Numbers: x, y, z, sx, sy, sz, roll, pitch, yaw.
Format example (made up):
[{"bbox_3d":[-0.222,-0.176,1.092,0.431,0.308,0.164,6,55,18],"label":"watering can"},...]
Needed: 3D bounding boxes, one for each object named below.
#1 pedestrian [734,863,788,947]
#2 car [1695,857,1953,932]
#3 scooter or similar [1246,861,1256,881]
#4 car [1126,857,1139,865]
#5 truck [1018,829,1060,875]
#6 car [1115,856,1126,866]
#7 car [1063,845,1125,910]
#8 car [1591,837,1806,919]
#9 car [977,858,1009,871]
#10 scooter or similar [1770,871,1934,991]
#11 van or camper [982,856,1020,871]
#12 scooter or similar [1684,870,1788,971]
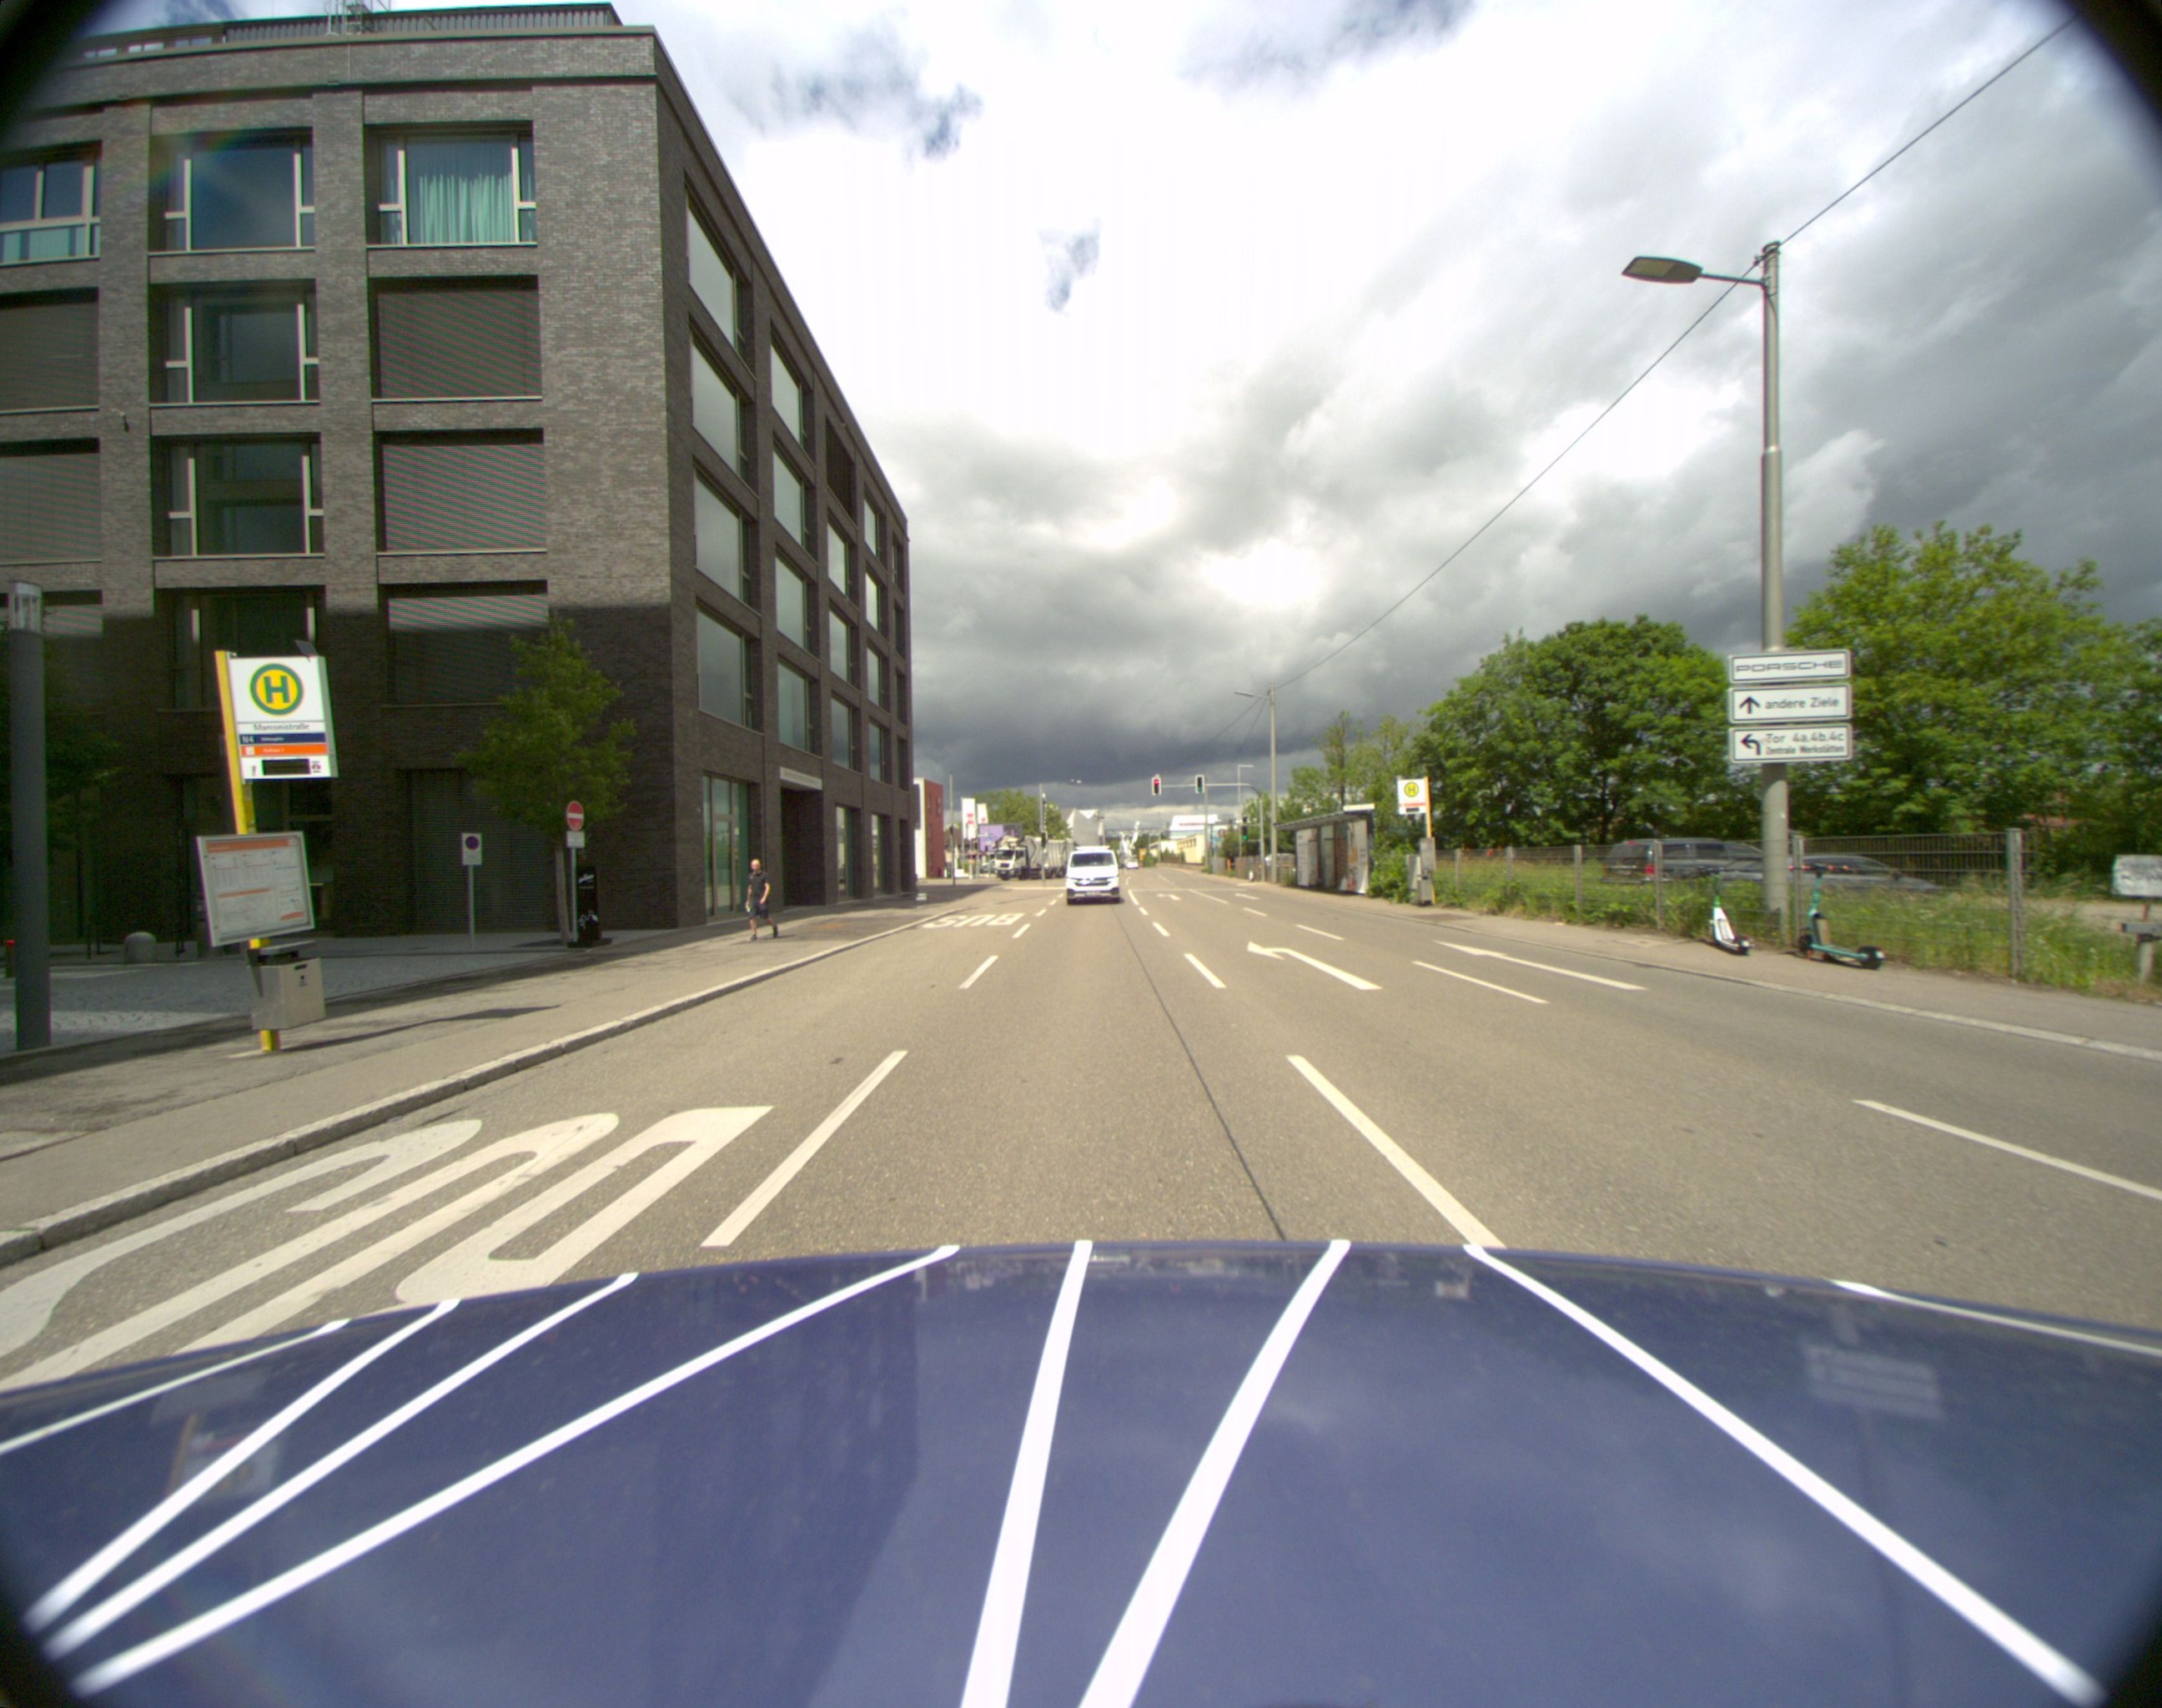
[{"bbox_3d":[-6.796,1.058,16.172,0.685,1.717,0.962,-2,0,1],"label":"pedestrian"},{"bbox_3d":[16.657,0.847,17.158,4.290,1.478,1.909,-1,1,-7],"label":"car"},{"bbox_3d":[10.614,1.058,47.439,0.424,1.203,1.126,-3,0,6],"label":"scooter or similar"},{"bbox_3d":[8.324,1.141,123.085,1.801,1.368,4.225,0,0,1],"label":"car"},{"bbox_3d":[-3.767,-0.192,70.642,2.836,3.889,10.367,-1,0,3],"label":"truck"},{"bbox_3d":[7.203,1.313,139.627,1.870,1.781,4.208,-1,0,1],"label":"car"},{"bbox_3d":[0.549,0.757,26.590,1.935,2.078,4.209,-1,0,4],"label":"car"},{"bbox_3d":[16.637,0.598,20.616,4.289,2.002,2.140,-1,1,-6],"label":"car"},{"bbox_3d":[-11.024,1.286,95.213,3.674,1.477,1.762,3,1,4],"label":"car"},{"bbox_3d":[9.135,0.868,9.083,0.536,1.258,1.472,-3,0,6],"label":"scooter or similar"},{"bbox_3d":[-10.831,1.260,103.220,4.909,1.946,2.212,1,1,2],"label":"van or camper"},{"bbox_3d":[9.073,0.881,10.584,0.535,1.255,1.473,-3,0,18],"label":"scooter or similar"}]
